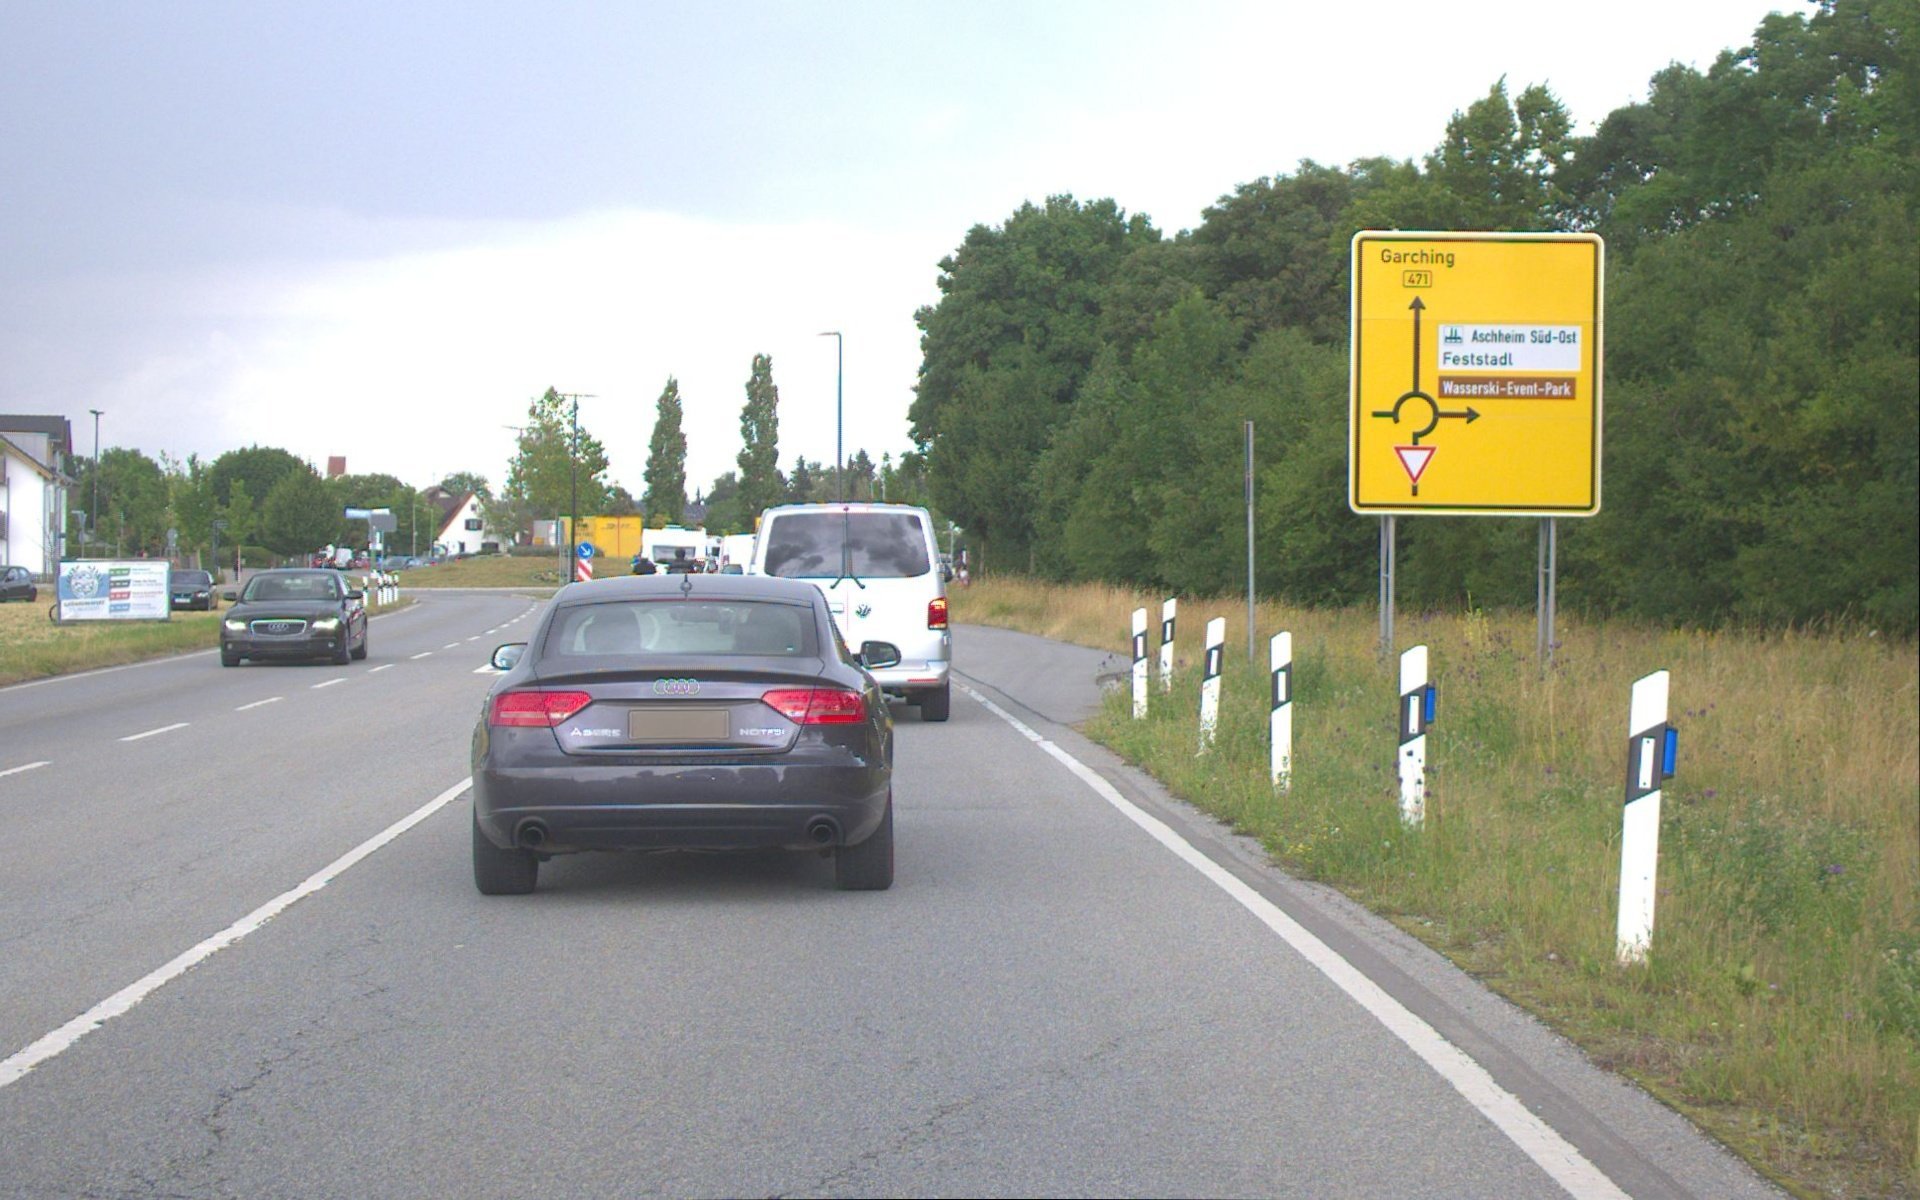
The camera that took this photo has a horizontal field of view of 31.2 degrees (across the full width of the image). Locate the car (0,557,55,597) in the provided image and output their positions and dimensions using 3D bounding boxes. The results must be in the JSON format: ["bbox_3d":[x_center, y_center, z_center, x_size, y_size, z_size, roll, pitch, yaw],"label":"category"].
[{"bbox_3d":[-35.802,-0.871,128.522,1.995,1.441,4.209,0,1,15],"label":"car"}]

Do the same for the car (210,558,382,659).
[{"bbox_3d":[-9.734,0.093,50.703,1.826,1.405,4.424,-1,1,-2],"label":"car"}]

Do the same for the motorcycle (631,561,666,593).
[{"bbox_3d":[-9.935,-0.743,109.718,0.944,1.016,2.284,0,1,-9],"label":"motorcycle"}]

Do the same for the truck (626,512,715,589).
[{"bbox_3d":[-10.559,-1.791,125.016,2.625,2.728,5.869,1,1,-10],"label":"truck"}]

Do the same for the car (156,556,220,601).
[{"bbox_3d":[-26.230,-0.750,116.709,1.993,1.437,4.001,0,1,-14],"label":"car"}]

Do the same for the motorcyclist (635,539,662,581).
[{"bbox_3d":[-9.925,-1.277,109.643,0.785,1.352,0.854,0,1,-9],"label":"motorcyclist"}]

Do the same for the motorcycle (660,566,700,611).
[{"bbox_3d":[-6.921,-0.285,84.996,0.920,1.090,2.189,1,1,-3],"label":"motorcycle"}]

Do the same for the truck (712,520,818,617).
[{"bbox_3d":[-4.201,-0.685,74.066,2.193,2.007,5.085,0,1,-3],"label":"truck"}]

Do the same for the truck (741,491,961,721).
[{"bbox_3d":[-1.078,0.016,32.174,1.904,1.991,4.629,0,1,-3],"label":"truck"}]

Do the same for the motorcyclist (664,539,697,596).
[{"bbox_3d":[-6.891,-0.805,84.822,0.772,1.379,0.820,1,1,-4],"label":"motorcyclist"}]

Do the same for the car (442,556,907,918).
[{"bbox_3d":[-1.300,0.525,16.033,1.875,1.449,4.177,0,1,-4],"label":"car"}]

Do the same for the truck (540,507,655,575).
[{"bbox_3d":[-19.725,-3.222,186.497,3.575,3.566,9.959,1,1,-22],"label":"truck"}]
